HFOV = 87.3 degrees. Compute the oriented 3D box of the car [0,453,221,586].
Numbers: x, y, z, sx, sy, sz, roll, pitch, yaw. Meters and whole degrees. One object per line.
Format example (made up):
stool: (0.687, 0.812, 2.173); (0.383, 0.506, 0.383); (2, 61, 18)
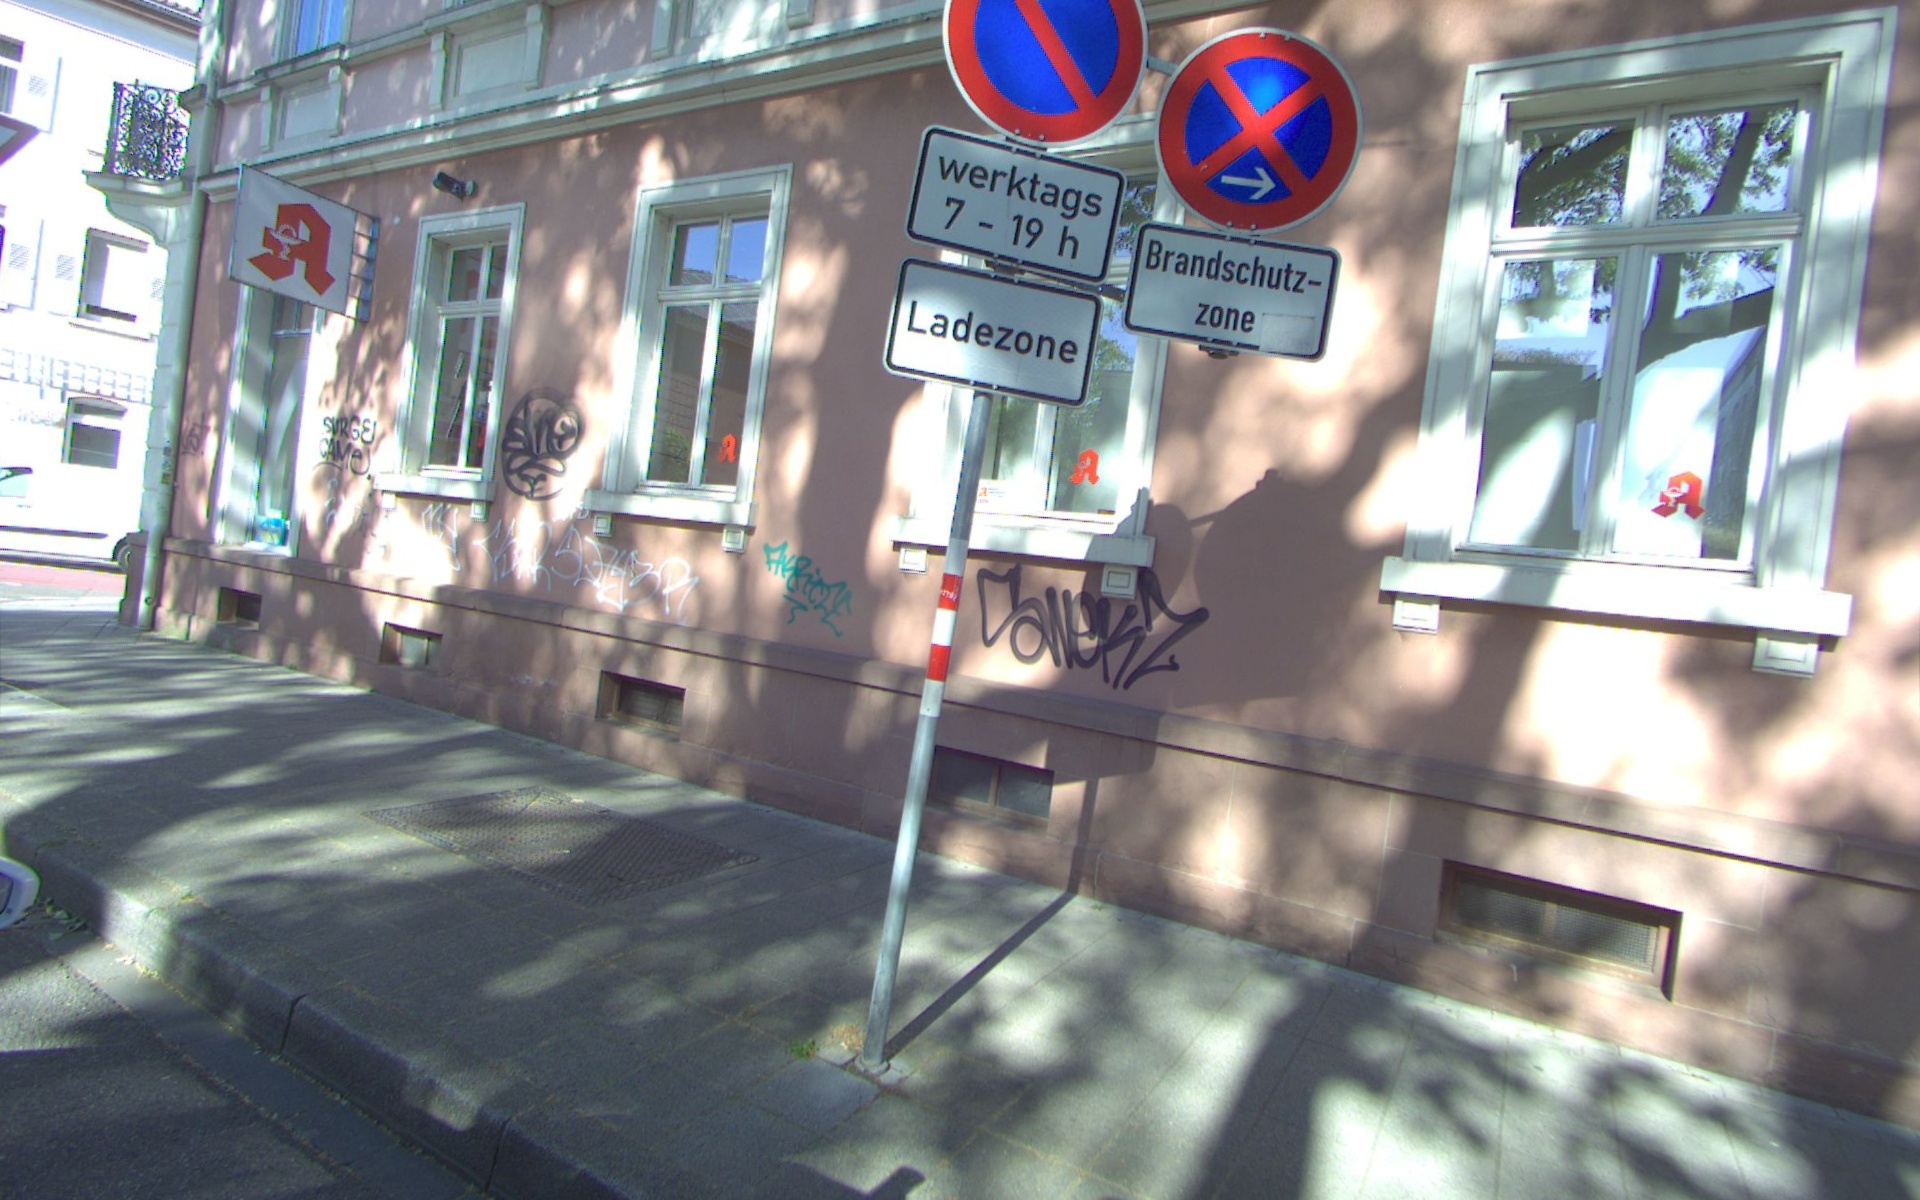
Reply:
car: (-17.191, -1.607, 19.047); (4.983, 1.969, 2.030); (8, -1, -37)
